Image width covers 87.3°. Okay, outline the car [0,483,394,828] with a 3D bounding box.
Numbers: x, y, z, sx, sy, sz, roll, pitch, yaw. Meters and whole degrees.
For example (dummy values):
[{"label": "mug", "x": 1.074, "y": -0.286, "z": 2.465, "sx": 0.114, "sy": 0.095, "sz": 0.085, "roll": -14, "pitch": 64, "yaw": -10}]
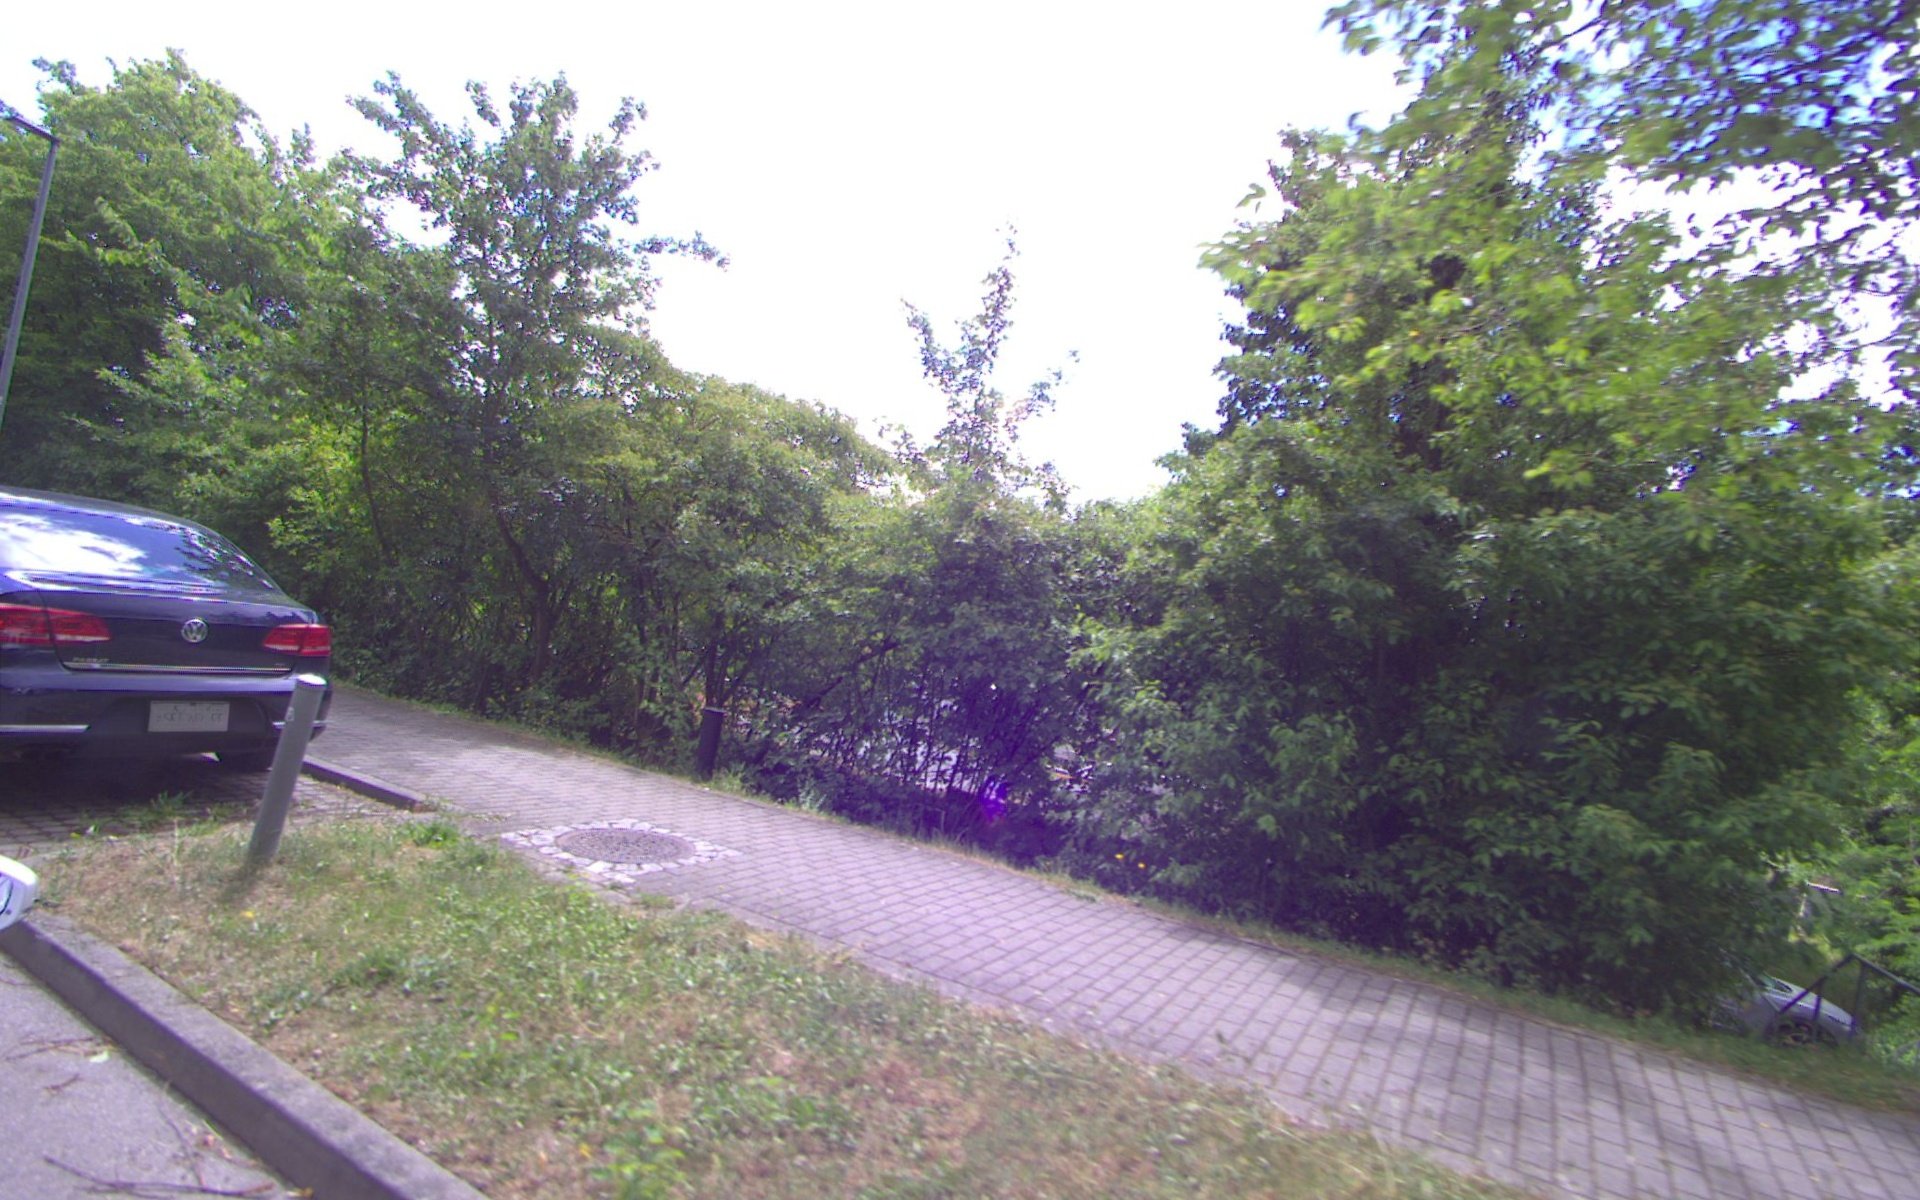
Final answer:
[{"label": "car", "x": -5.489, "y": 0.065, "z": 5.892, "sx": 4.260, "sy": 1.451, "sz": 1.779, "roll": 7, "pitch": -1, "yaw": 30}]
